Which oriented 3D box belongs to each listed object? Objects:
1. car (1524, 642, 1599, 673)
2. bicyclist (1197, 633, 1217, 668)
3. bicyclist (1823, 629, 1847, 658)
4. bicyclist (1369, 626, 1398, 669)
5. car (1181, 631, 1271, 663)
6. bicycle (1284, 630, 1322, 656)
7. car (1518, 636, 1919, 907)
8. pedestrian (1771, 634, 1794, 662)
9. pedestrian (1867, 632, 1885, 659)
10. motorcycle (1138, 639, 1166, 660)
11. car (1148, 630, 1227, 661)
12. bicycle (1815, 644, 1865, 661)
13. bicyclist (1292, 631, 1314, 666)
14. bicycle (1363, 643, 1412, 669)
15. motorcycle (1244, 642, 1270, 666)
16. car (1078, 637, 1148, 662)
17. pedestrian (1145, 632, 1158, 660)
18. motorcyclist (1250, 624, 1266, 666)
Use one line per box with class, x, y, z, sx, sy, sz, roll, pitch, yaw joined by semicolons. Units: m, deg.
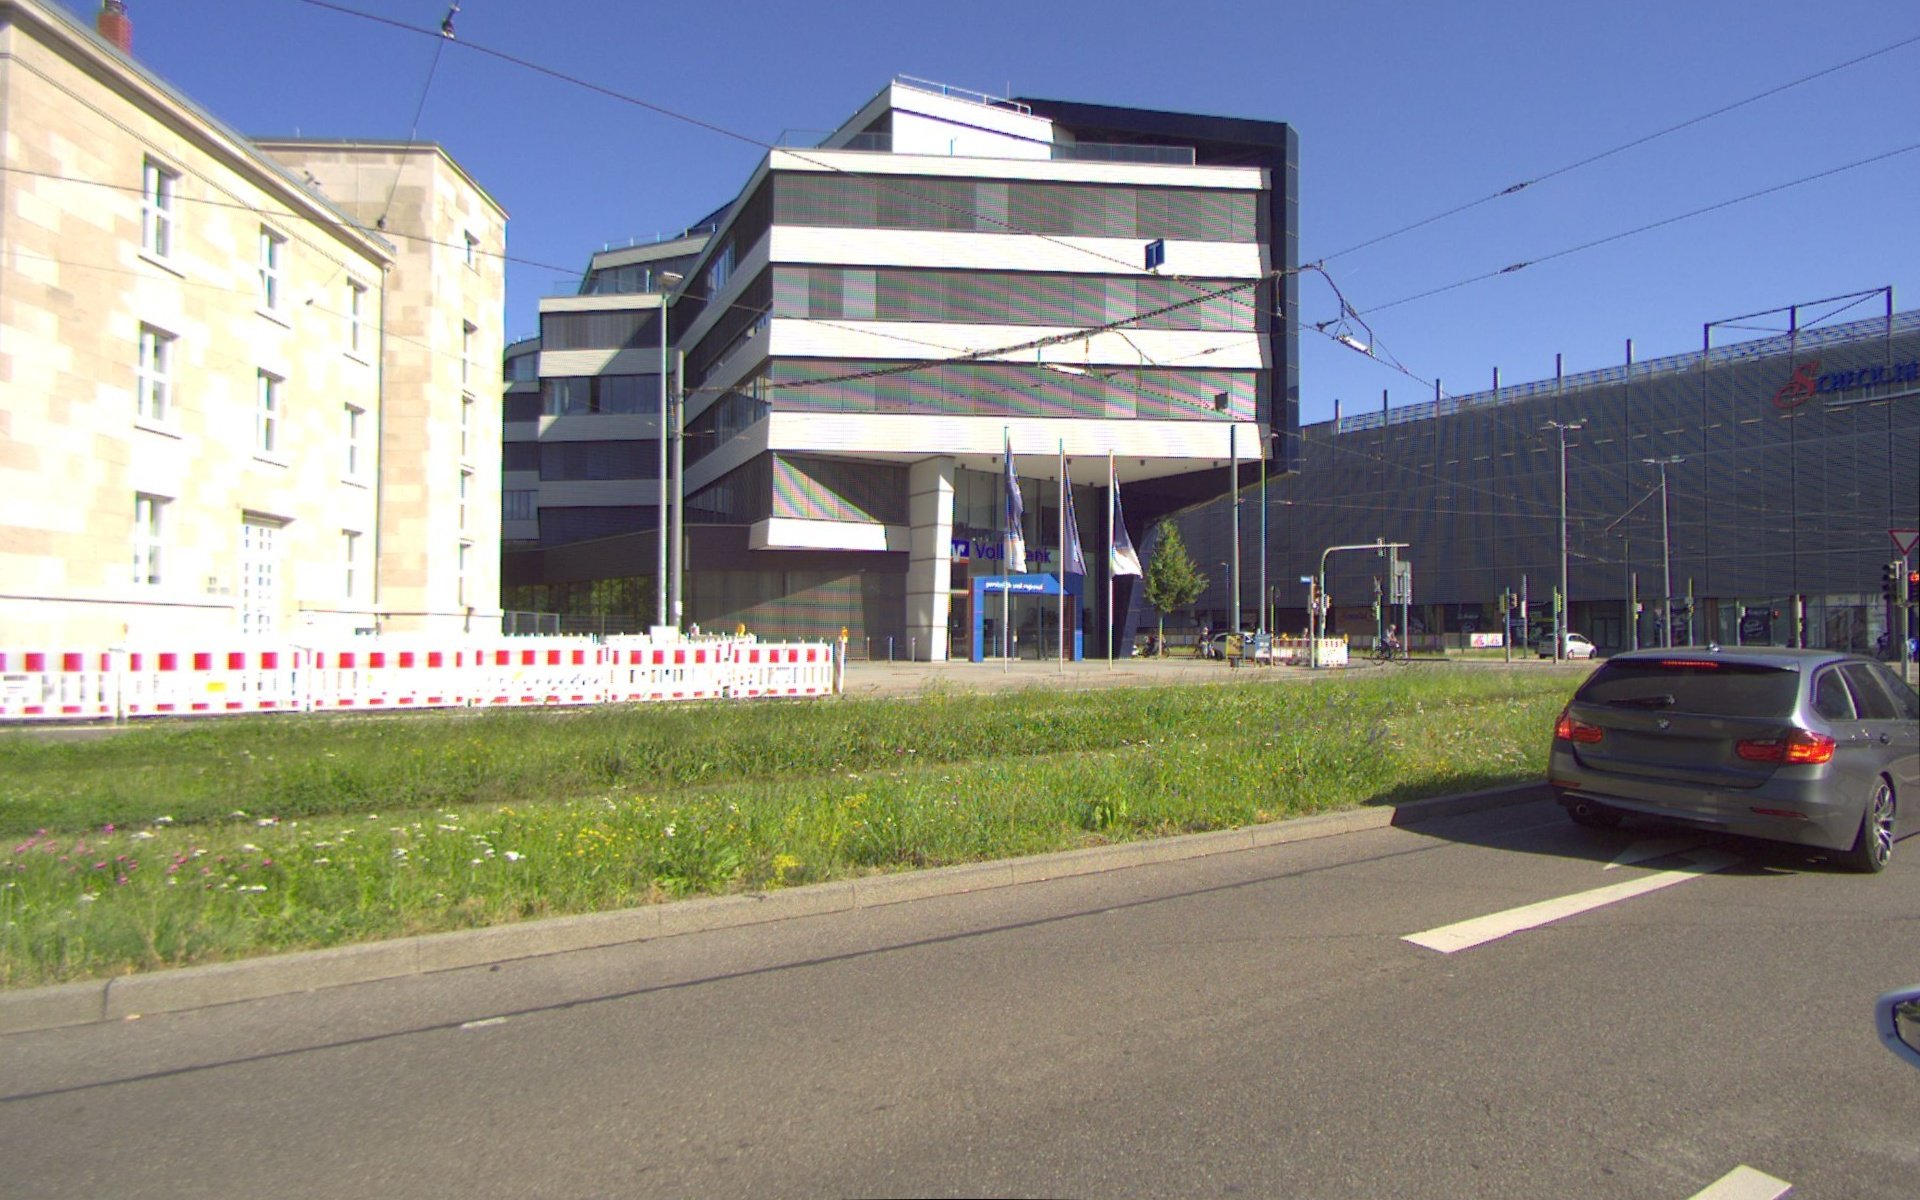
car;36.569;3.498;61.121;3.937;1.817;1.751;2;-1;-18
bicyclist;12.932;2.623;52.590;0.758;1.812;0.756;1;-2;-44
bicyclist;56.760;2.830;65.183;0.828;1.827;0.817;0;-2;9
bicyclist;18.861;2.113;44.692;0.847;1.884;0.895;1;-2;-40
car;14.294;2.503;54.101;1.825;1.656;4.449;0;-1;-42
bicycle;16.395;2.047;48.041;0.729;1.121;1.561;1;0;-43
car;6.241;1.048;7.663;4.423;1.442;1.722;2;0;-36
pedestrian;55.321;3.210;67.547;0.804;1.893;0.906;0;-2;3
pedestrian;62.645;3.111;68.707;0.615;1.787;0.841;1;-2;-40
motorcycle;11.784;3.028;61.725;1.590;1.315;0.597;-2;-2;41
car;13.668;2.684;60.591;1.822;1.741;4.601;0;-1;-37
bicycle;57.052;3.376;65.171;2.199;1.085;1.047;0;-2;10
bicyclist;16.343;2.313;47.878;0.685;1.670;0.775;1;-2;-42
bicycle;18.949;2.477;44.579;0.846;1.130;1.814;1;-2;-39
motorcycle;14.772;2.684;49.919;0.479;1.136;1.176;1;-2;-40
car;9.245;2.982;60.958;1.896;1.483;4.045;1;-2;-39
pedestrian;11.756;2.839;61.739;0.678;1.690;0.367;-1;-2;39
motorcyclist;14.798;2.222;49.893;0.493;2.040;0.622;1;-2;-40
